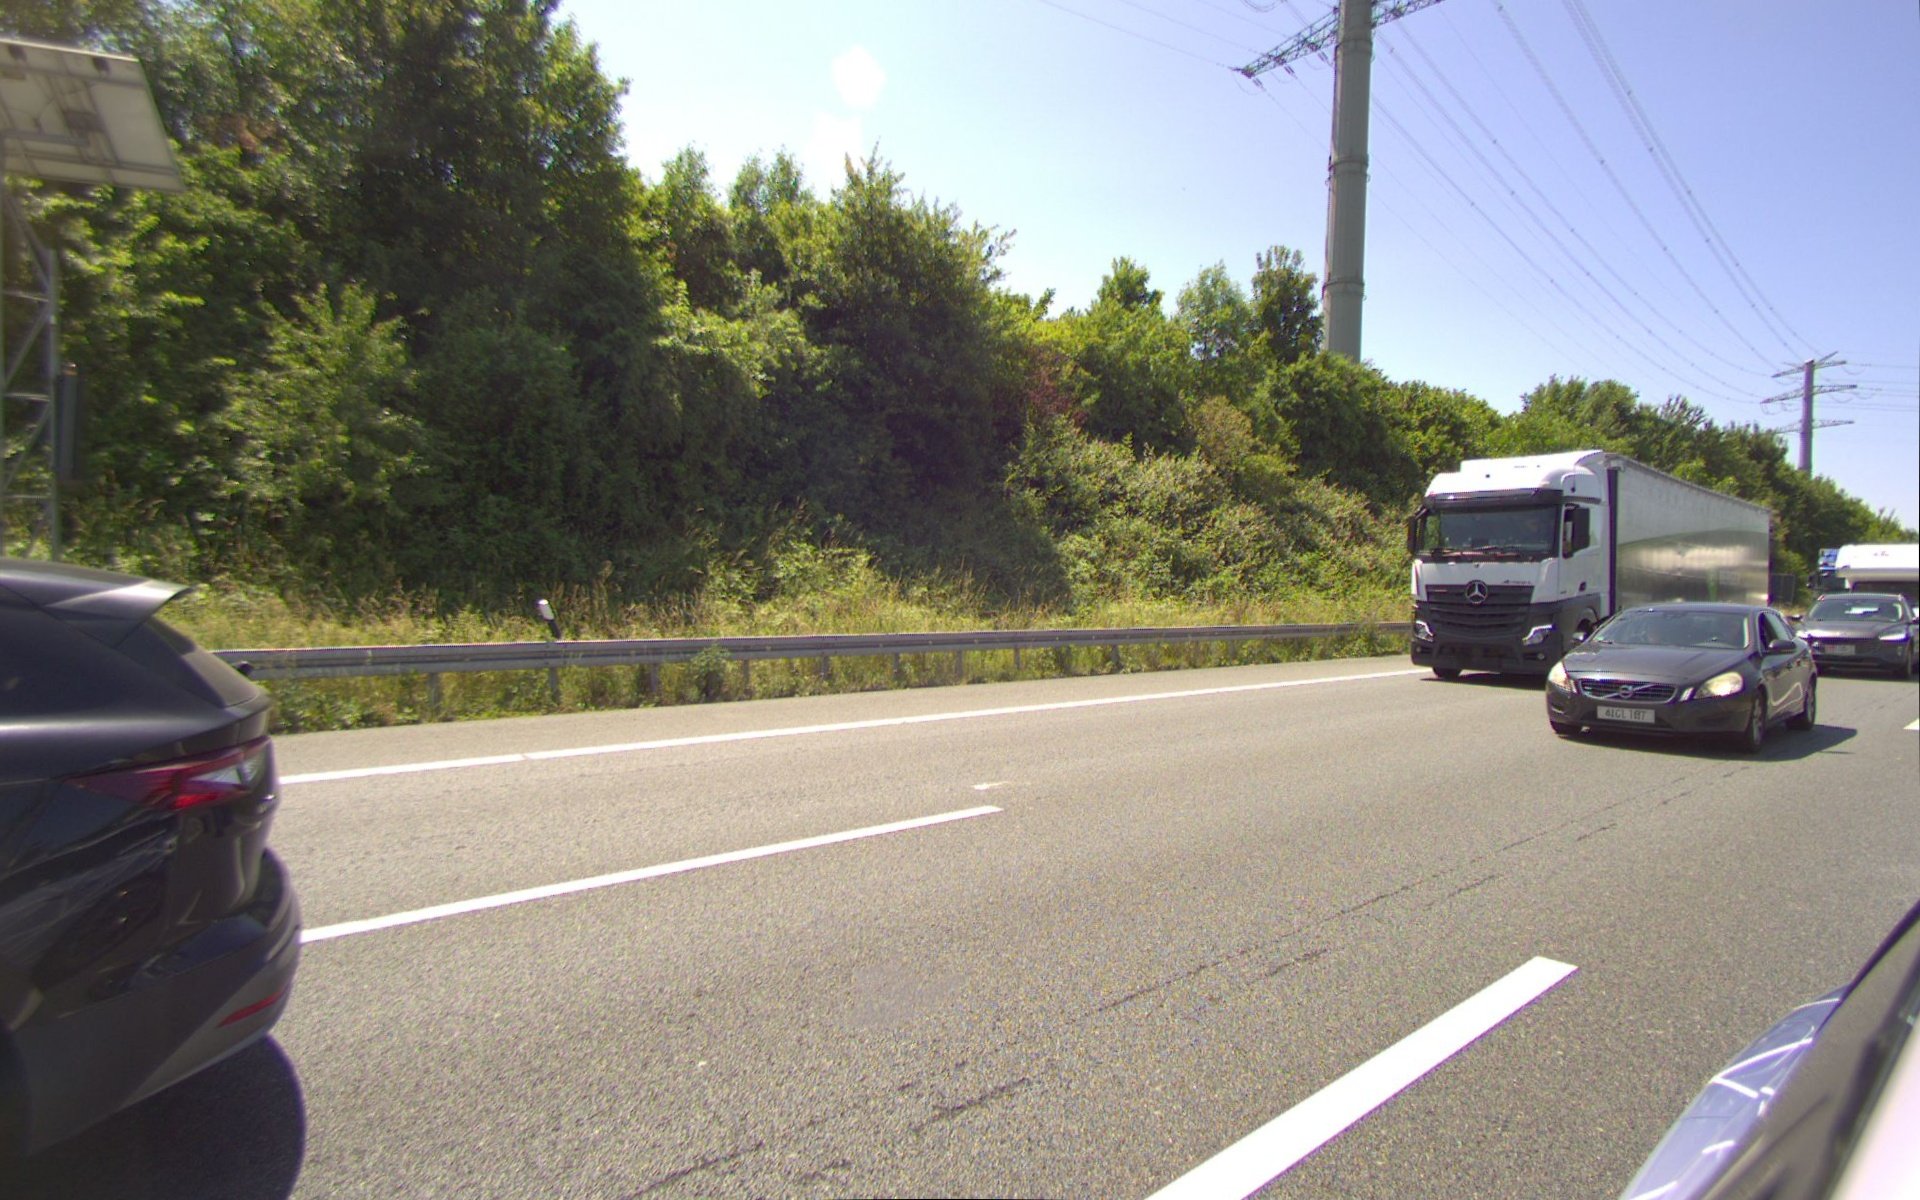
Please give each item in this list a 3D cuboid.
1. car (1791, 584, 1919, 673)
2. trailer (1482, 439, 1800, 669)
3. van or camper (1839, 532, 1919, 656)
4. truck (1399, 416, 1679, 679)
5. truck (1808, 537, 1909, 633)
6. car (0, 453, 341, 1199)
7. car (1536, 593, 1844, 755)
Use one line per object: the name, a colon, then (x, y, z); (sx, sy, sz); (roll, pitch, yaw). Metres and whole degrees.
car: (18.611, 0.502, 20.632); (4.146, 1.631, 1.892); (-1, 0, -41)
trailer: (16.178, -0.868, 23.312); (12.882, 4.098, 2.788); (-1, 0, -41)
van or camper: (26.629, -0.182, 28.045); (7.499, 3.082, 2.373); (-1, 0, -41)
truck: (10.776, -0.844, 18.649); (5.692, 4.098, 2.738); (0, 0, -41)
truck: (42.166, -0.682, 47.443); (5.537, 4.197, 2.790); (0, 0, -41)
car: (-3.672, 0.552, 1.630); (4.353, 1.676, 1.703); (-1, 0, -42)
car: (8.208, 0.650, 11.222); (4.431, 1.437, 1.798); (-1, 0, -41)
